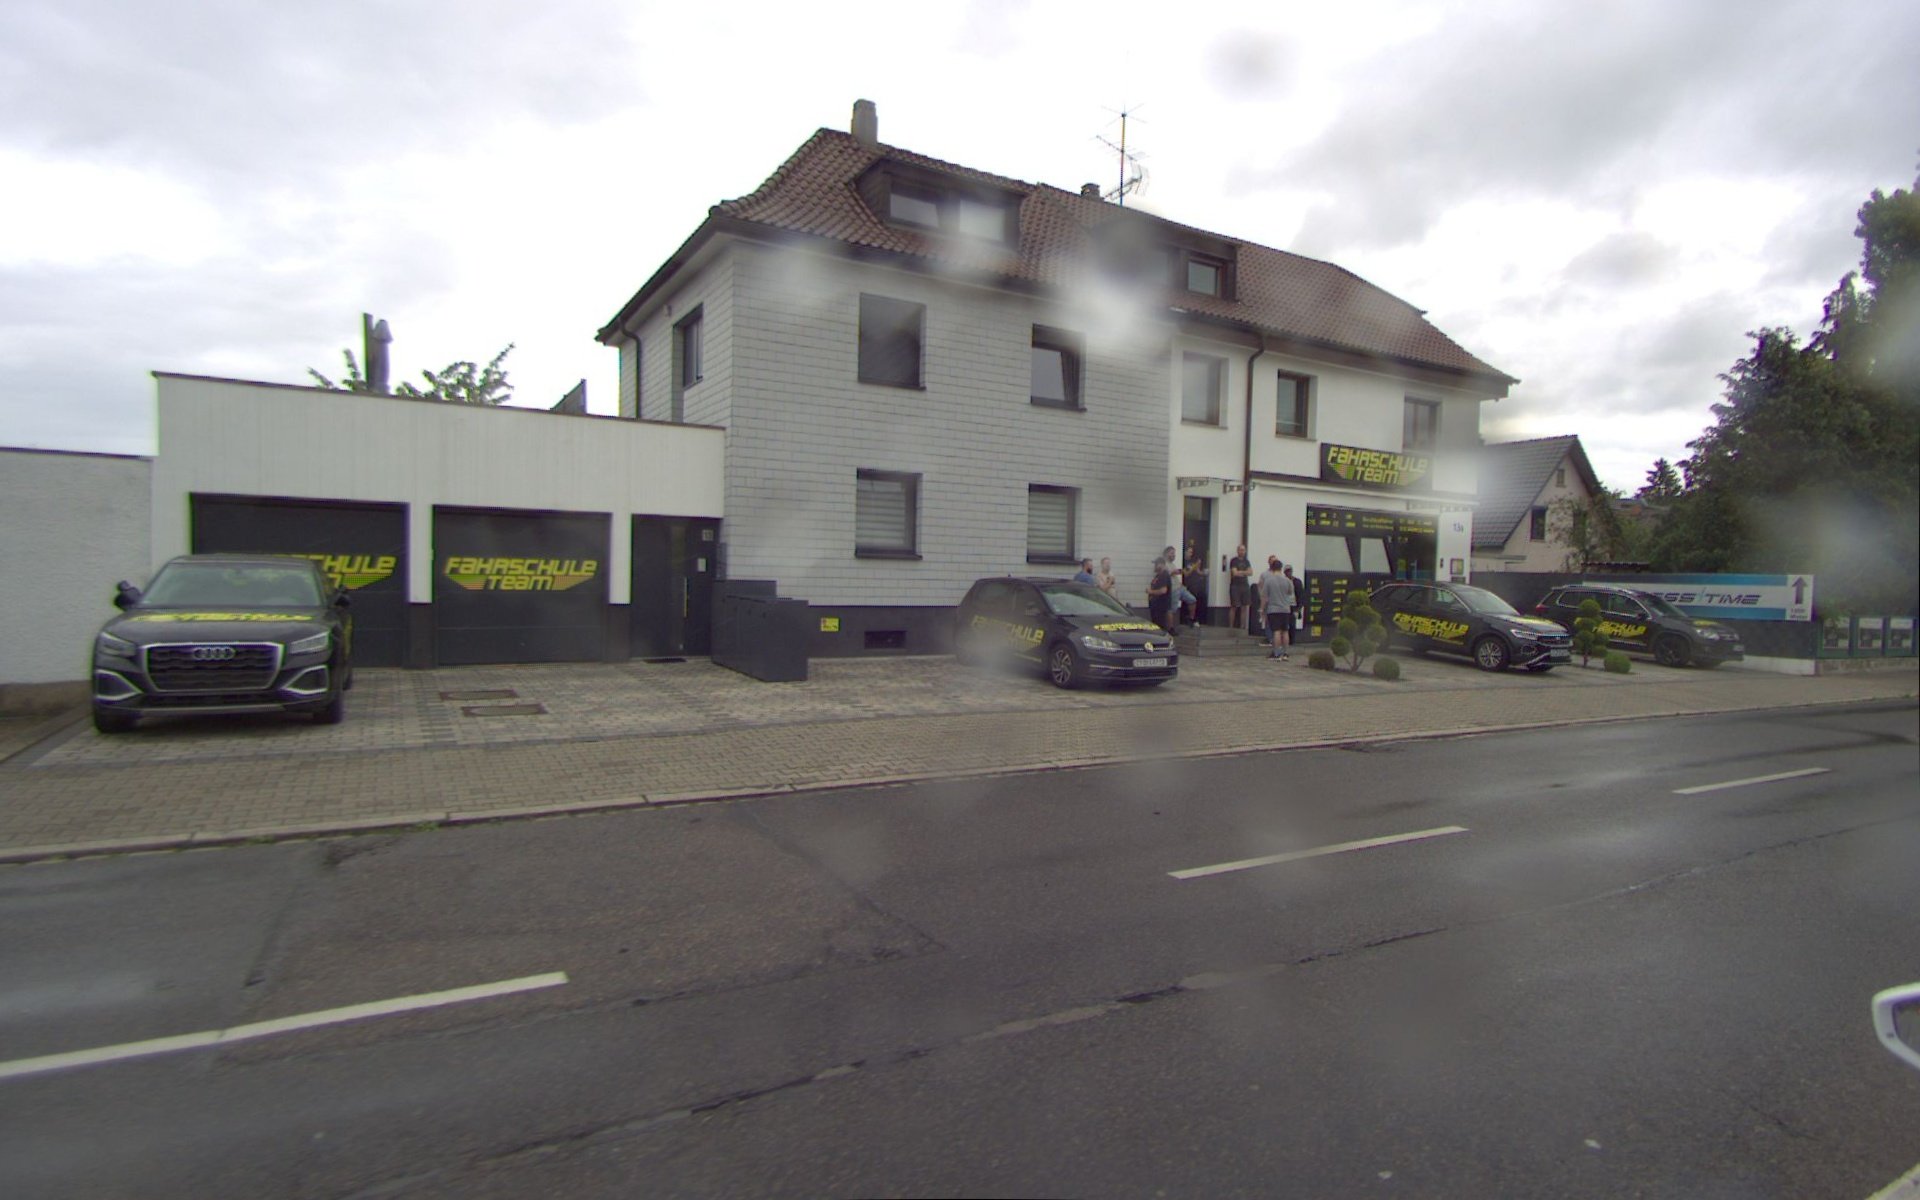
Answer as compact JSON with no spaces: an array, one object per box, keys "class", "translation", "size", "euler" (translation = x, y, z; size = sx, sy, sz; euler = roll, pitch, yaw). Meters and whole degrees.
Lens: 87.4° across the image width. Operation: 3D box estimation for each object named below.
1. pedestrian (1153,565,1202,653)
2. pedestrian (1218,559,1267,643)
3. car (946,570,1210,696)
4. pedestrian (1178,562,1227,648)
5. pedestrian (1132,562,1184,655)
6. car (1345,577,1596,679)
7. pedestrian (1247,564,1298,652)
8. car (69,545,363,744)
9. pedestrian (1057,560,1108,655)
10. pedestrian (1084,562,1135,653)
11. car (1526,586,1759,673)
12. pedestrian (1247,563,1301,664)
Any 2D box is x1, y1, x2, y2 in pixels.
[{"class":"pedestrian","translation":[4.309,0.173,19.935],"size":[0.641,1.688,0.598],"euler":[1,4,-25]},{"class":"pedestrian","translation":[5.849,0.008,20.797],"size":[0.641,1.688,0.598],"euler":[1,4,-25]},{"class":"car","translation":[1.585,0.384,14.946],"size":[1.834,1.536,4.053],"euler":[1,2,-30]},{"class":"pedestrian","translation":[4.922,0.096,20.400],"size":[0.641,1.688,0.598],"euler":[1,4,-25]},{"class":"pedestrian","translation":[3.671,0.152,18.646],"size":[0.641,1.688,0.598],"euler":[1,4,-25]},{"class":"car","translation":[10.021,0.480,20.042],"size":[1.834,1.536,4.053],"euler":[1,5,-30]},{"class":"pedestrian","translation":[6.166,0.155,19.831],"size":[0.640,1.688,0.599],"euler":[1,4,-22]},{"class":"car","translation":[-7.028,0.275,9.921],"size":[1.834,1.536,3.968],"euler":[1,2,-30]},{"class":"pedestrian","translation":[2.237,0.127,18.363],"size":[0.641,1.688,0.598],"euler":[1,4,-25]},{"class":"pedestrian","translation":[2.839,0.138,19.103],"size":[0.641,1.688,0.598],"euler":[1,4,-25]},{"class":"car","translation":[15.877,0.624,23.606],"size":[1.834,1.536,4.053],"euler":[1,5,-30]},{"class":"pedestrian","translation":[5.824,0.235,18.634],"size":[0.643,1.815,0.596],"euler":[0,4,-35]}]
